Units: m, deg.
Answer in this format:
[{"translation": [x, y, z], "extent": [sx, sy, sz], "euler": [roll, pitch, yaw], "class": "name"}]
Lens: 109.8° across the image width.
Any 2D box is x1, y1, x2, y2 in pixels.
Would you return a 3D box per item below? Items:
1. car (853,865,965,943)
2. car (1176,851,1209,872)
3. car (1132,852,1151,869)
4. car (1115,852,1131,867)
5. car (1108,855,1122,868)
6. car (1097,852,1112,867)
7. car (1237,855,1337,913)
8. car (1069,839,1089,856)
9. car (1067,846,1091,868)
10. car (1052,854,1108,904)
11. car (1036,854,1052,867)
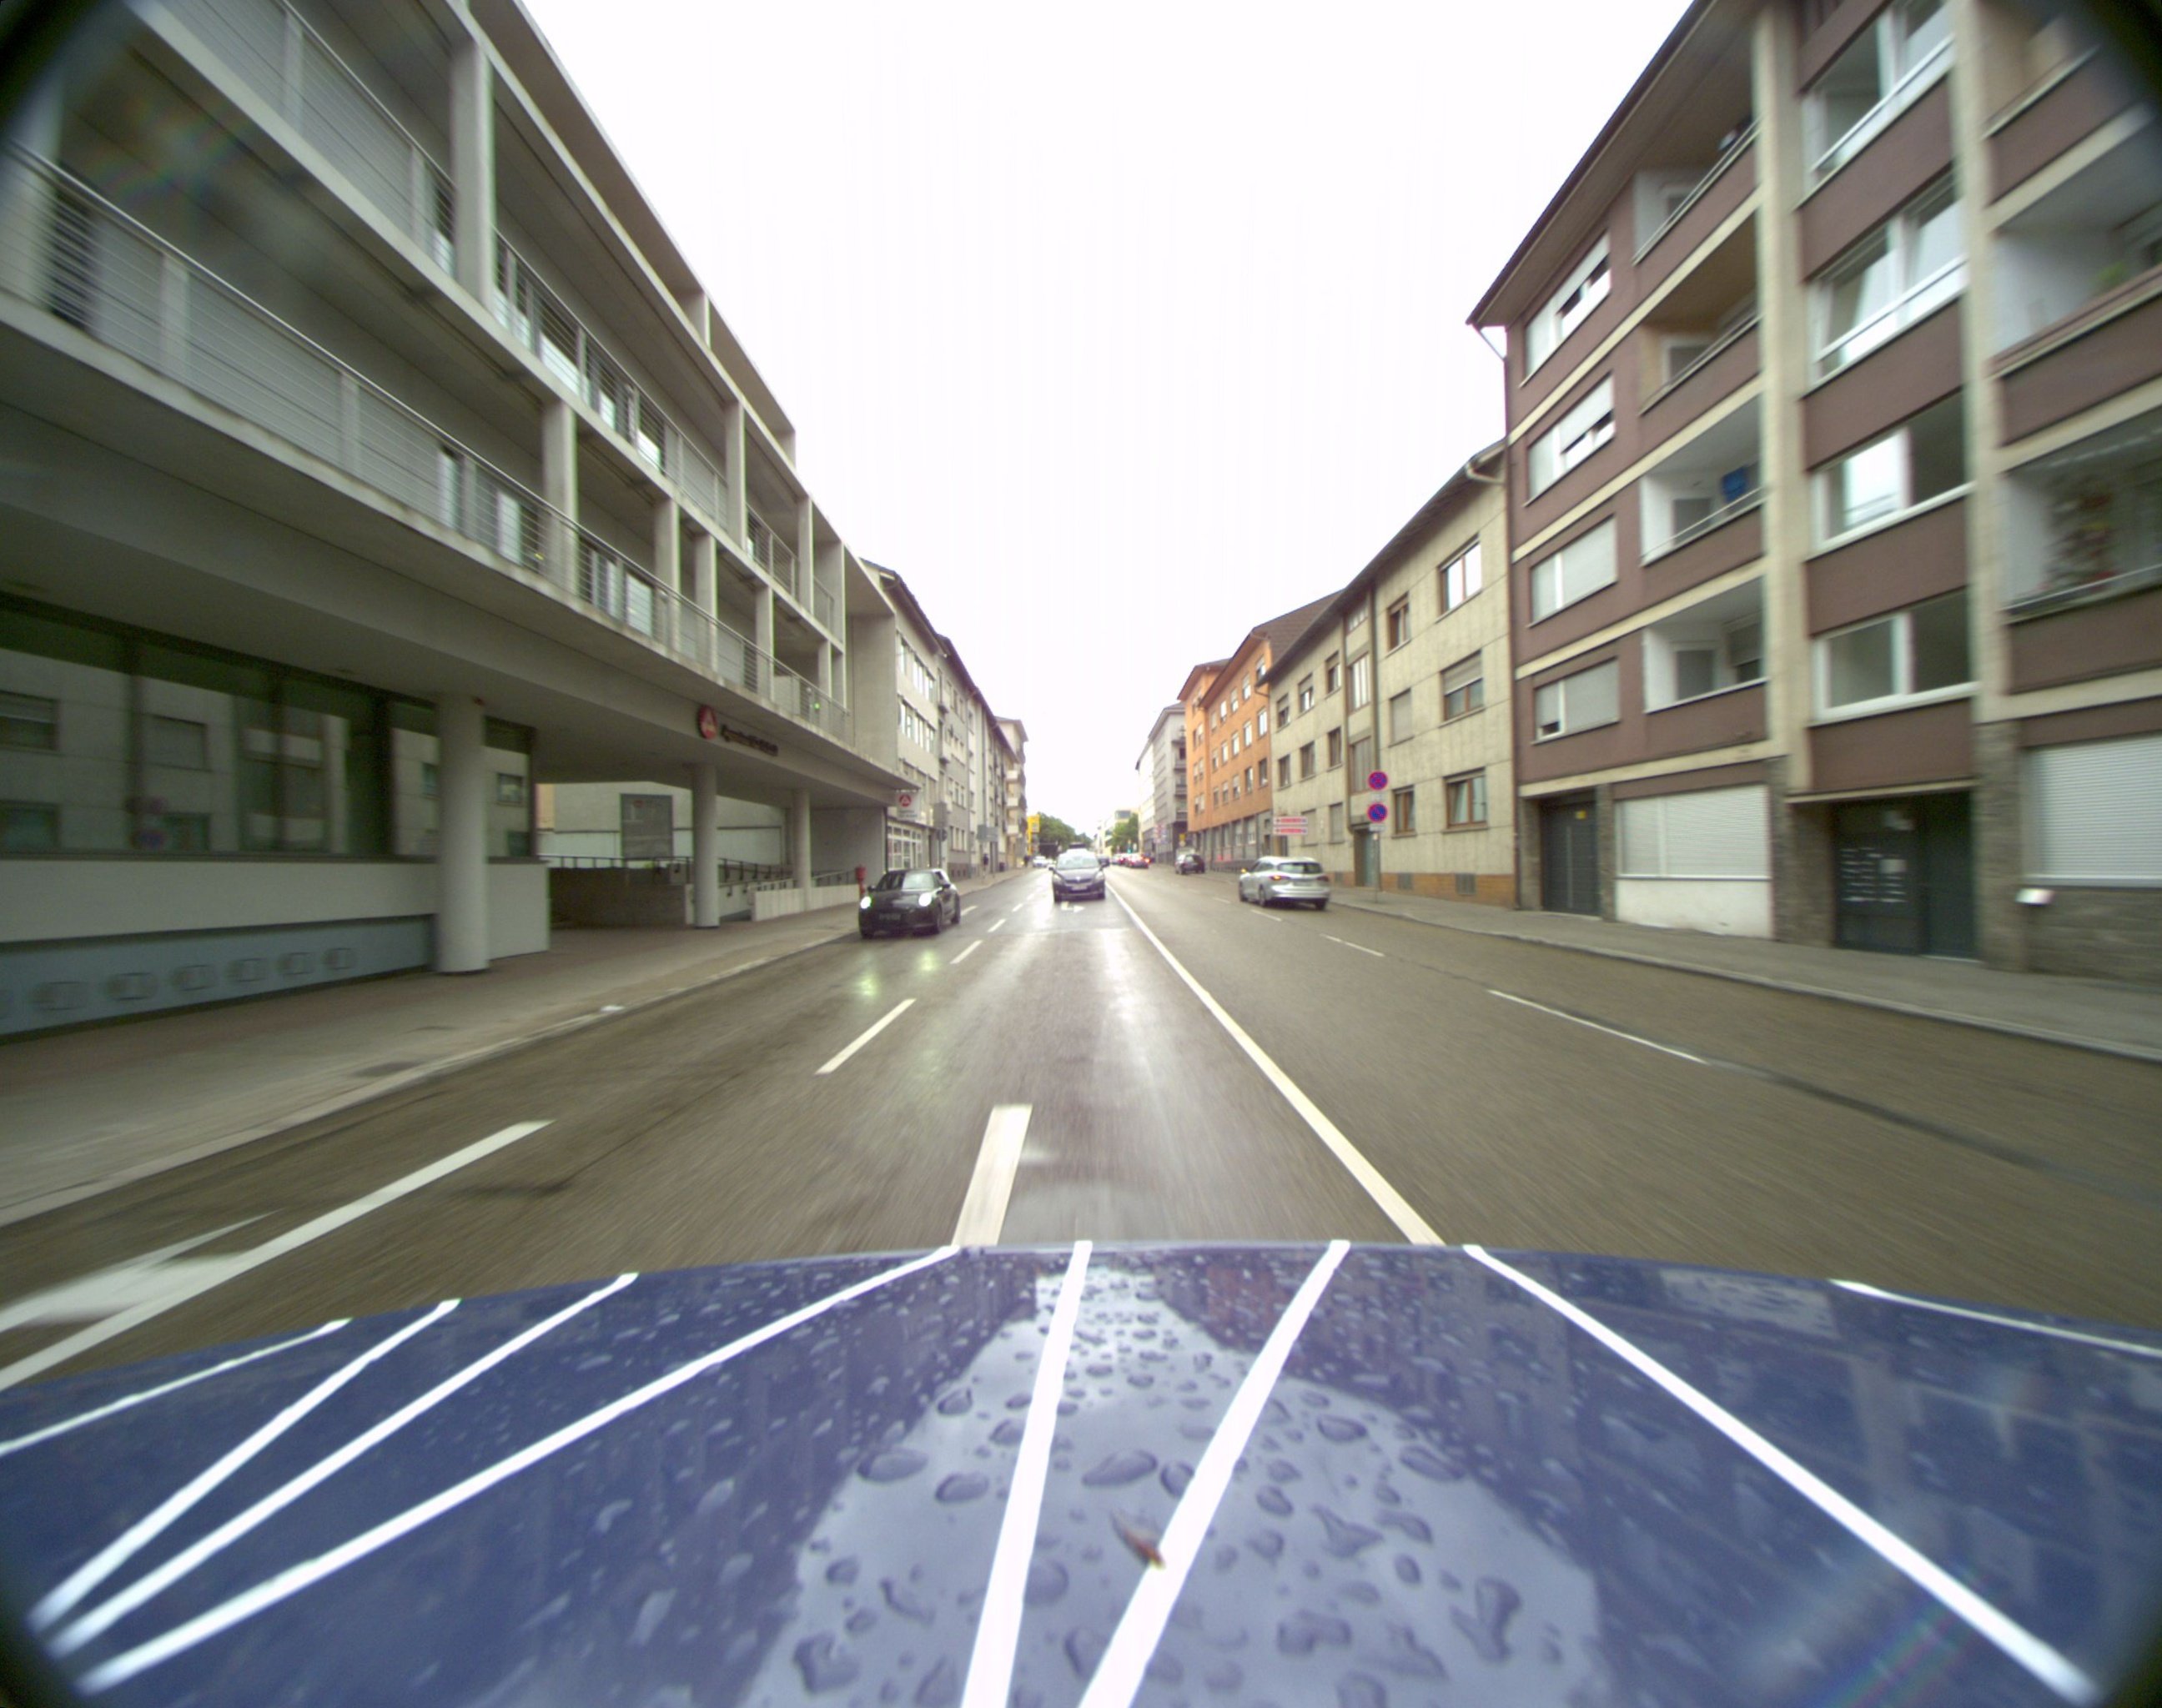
[{"translation": [-3.861, 1.073, 17.733], "extent": [1.665, 1.412, 4.071], "euler": [-3, 1, -1], "class": "car"}, {"translation": [8.280, 0.525, 56.698], "extent": [1.708, 1.447, 3.804], "euler": [-2, 1, -3], "class": "car"}, {"translation": [6.190, 0.636, 78.176], "extent": [1.722, 1.652, 3.679], "euler": [-2, 1, 2], "class": "car"}, {"translation": [5.054, 0.651, 91.164], "extent": [1.722, 1.652, 3.679], "euler": [-2, 1, 2], "class": "car"}, {"translation": [4.679, 1.051, 105.304], "extent": [1.722, 1.652, 3.679], "euler": [-2, 1, 2], "class": "car"}, {"translation": [2.866, 0.617, 91.344], "extent": [1.722, 1.652, 3.679], "euler": [-2, 1, 2], "class": "car"}, {"translation": [5.890, 0.799, 22.221], "extent": [1.732, 1.452, 4.071], "euler": [2, 1, -1], "class": "car"}, {"translation": [-0.164, -0.662, 77.105], "extent": [1.851, 1.652, 3.679], "euler": [-2, 1, 2], "class": "car"}, {"translation": [-0.139, 0.221, 60.410], "extent": [1.721, 1.652, 3.679], "euler": [-2, 1, 2], "class": "car"}, {"translation": [-0.054, 0.789, 26.515], "extent": [1.732, 1.472, 4.071], "euler": [-3, 1, -1], "class": "car"}, {"translation": [-4.810, 0.823, 99.361], "extent": [1.722, 1.652, 3.679], "euler": [-2, 1, 2], "class": "car"}]
